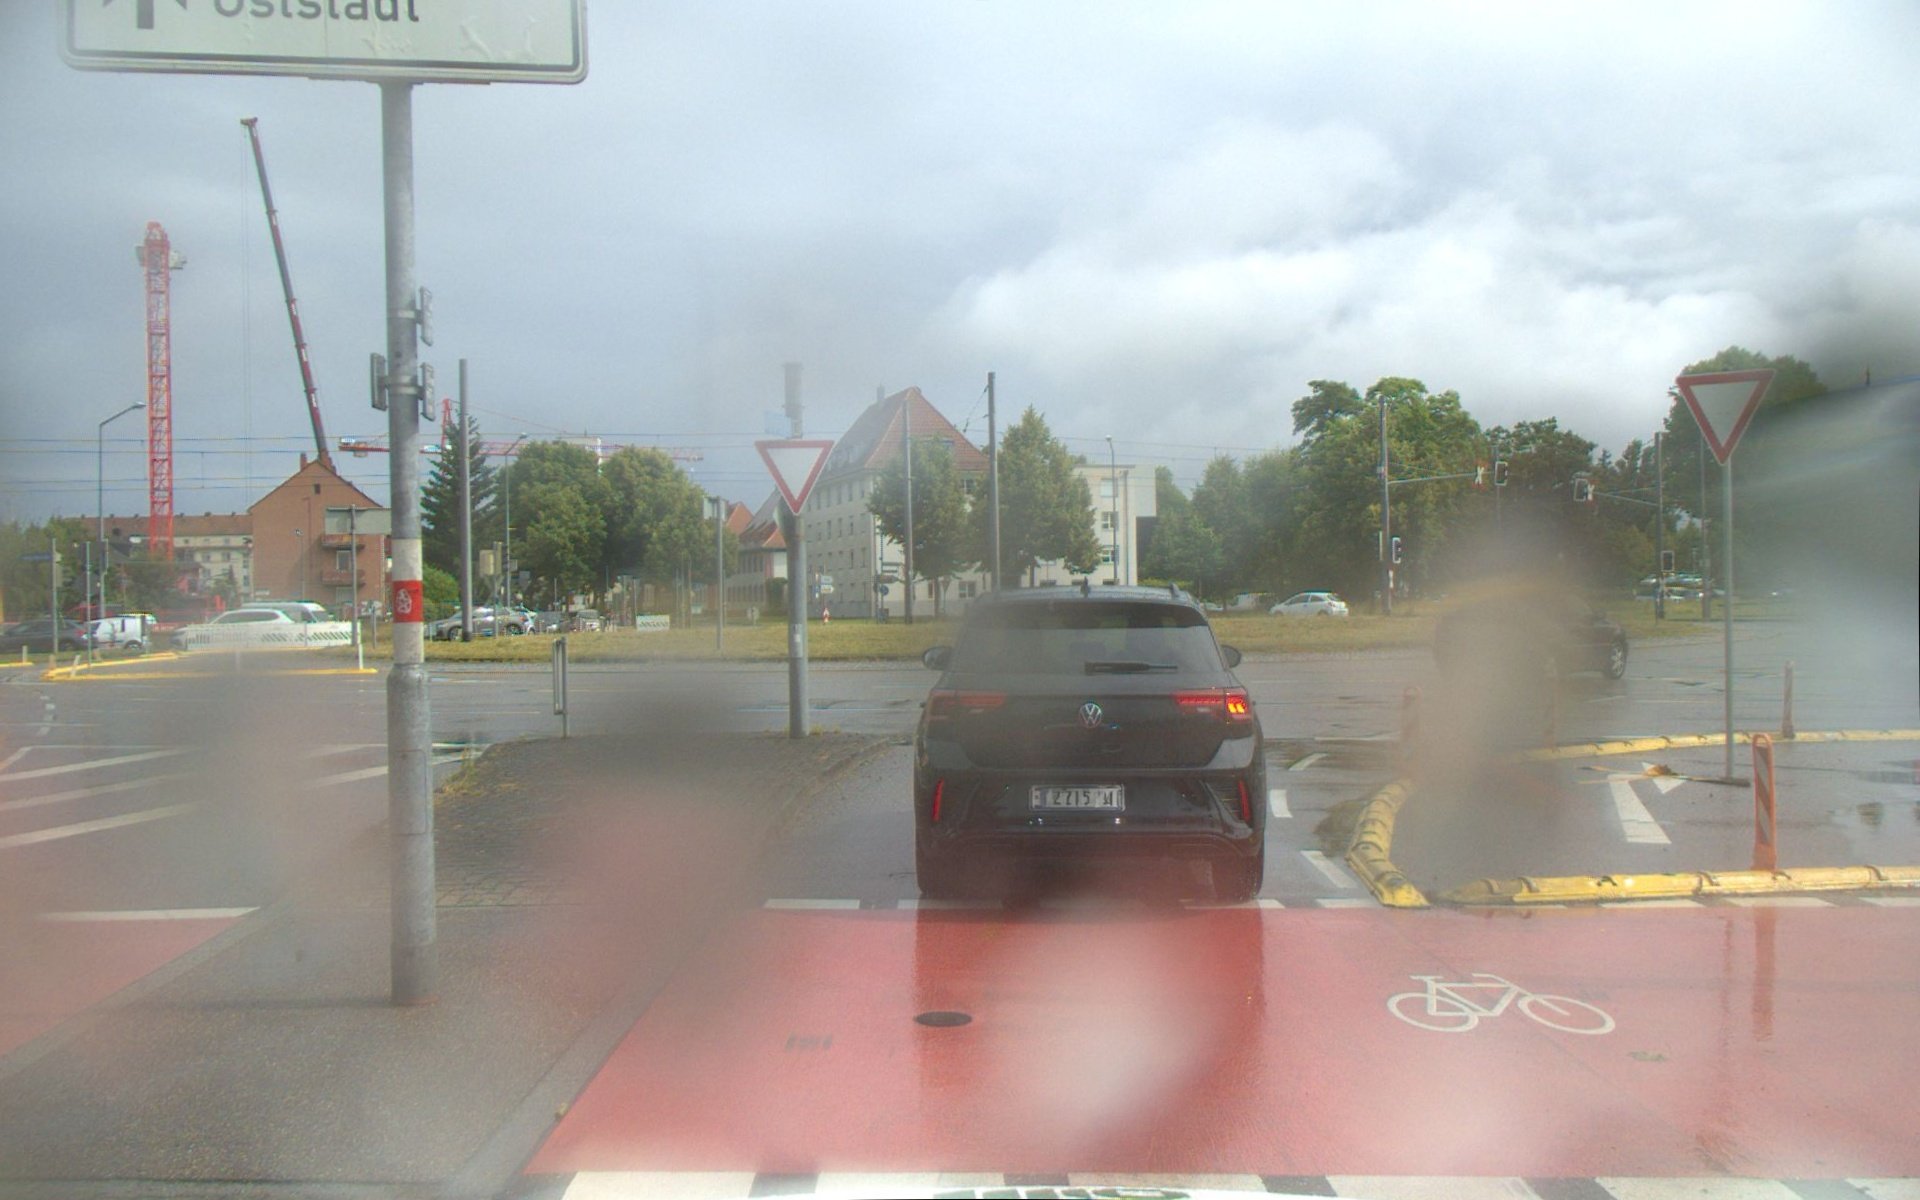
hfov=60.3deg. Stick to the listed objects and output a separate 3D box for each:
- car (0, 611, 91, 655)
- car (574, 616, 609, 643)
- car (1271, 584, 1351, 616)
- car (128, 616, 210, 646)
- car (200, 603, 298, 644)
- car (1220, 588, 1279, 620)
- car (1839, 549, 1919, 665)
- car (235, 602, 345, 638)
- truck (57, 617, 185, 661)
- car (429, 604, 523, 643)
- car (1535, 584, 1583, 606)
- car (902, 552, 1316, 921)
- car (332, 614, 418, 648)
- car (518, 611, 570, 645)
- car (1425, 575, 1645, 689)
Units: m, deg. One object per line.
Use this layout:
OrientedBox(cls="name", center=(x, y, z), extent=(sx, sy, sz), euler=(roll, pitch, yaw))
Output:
OrientedBox(cls="car", center=(-35.260, 1.243, 62.714), extent=(3.935, 1.543, 1.789), euler=(-2, 0, -25))
OrientedBox(cls="car", center=(-22.165, 1.765, 99.667), extent=(1.514, 1.588, 3.497), euler=(-1, 0, -4))
OrientedBox(cls="car", center=(16.997, 0.014, 80.098), extent=(3.434, 1.479, 1.543), euler=(-1, 0, 39))
OrientedBox(cls="car", center=(-46.649, 1.818, 97.576), extent=(3.903, 1.730, 1.931), euler=(1, 0, 5))
OrientedBox(cls="car", center=(-28.384, 0.921, 66.033), extent=(3.452, 1.536, 1.485), euler=(-1, 0, -30))
OrientedBox(cls="car", center=(20.056, 0.278, 114.884), extent=(2.072, 2.093, 5.140), euler=(-2, 1, -15))
OrientedBox(cls="car", center=(16.975, 0.058, 26.861), extent=(4.446, 1.793, 1.866), euler=(-1, 1, -3))
OrientedBox(cls="car", center=(-42.167, 1.263, 104.150), extent=(6.112, 2.121, 2.044), euler=(1, 0, 7))
OrientedBox(cls="truck", center=(-46.183, 2.137, 91.076), extent=(5.951, 2.250, 2.399), euler=(1, 0, 9))
OrientedBox(cls="car", center=(-21.012, 0.999, 71.873), extent=(1.547, 1.588, 3.653), euler=(0, 1, 44))
OrientedBox(cls="car", center=(44.448, -0.384, 122.777), extent=(1.617, 1.537, 3.637), euler=(-1, 0, -14))
OrientedBox(cls="car", center=(0.749, 0.564, 9.530), extent=(1.858, 1.645, 4.002), euler=(1, 2, 2))
OrientedBox(cls="car", center=(-31.370, 1.662, 88.798), extent=(1.958, 1.713, 3.988), euler=(-1, 0, 33))
OrientedBox(cls="car", center=(-21.102, 1.396, 83.983), extent=(1.756, 1.612, 3.998), euler=(-1, 0, -2))
OrientedBox(cls="car", center=(8.687, 0.410, 24.825), extent=(1.690, 1.487, 3.975), euler=(1, 2, 43))
